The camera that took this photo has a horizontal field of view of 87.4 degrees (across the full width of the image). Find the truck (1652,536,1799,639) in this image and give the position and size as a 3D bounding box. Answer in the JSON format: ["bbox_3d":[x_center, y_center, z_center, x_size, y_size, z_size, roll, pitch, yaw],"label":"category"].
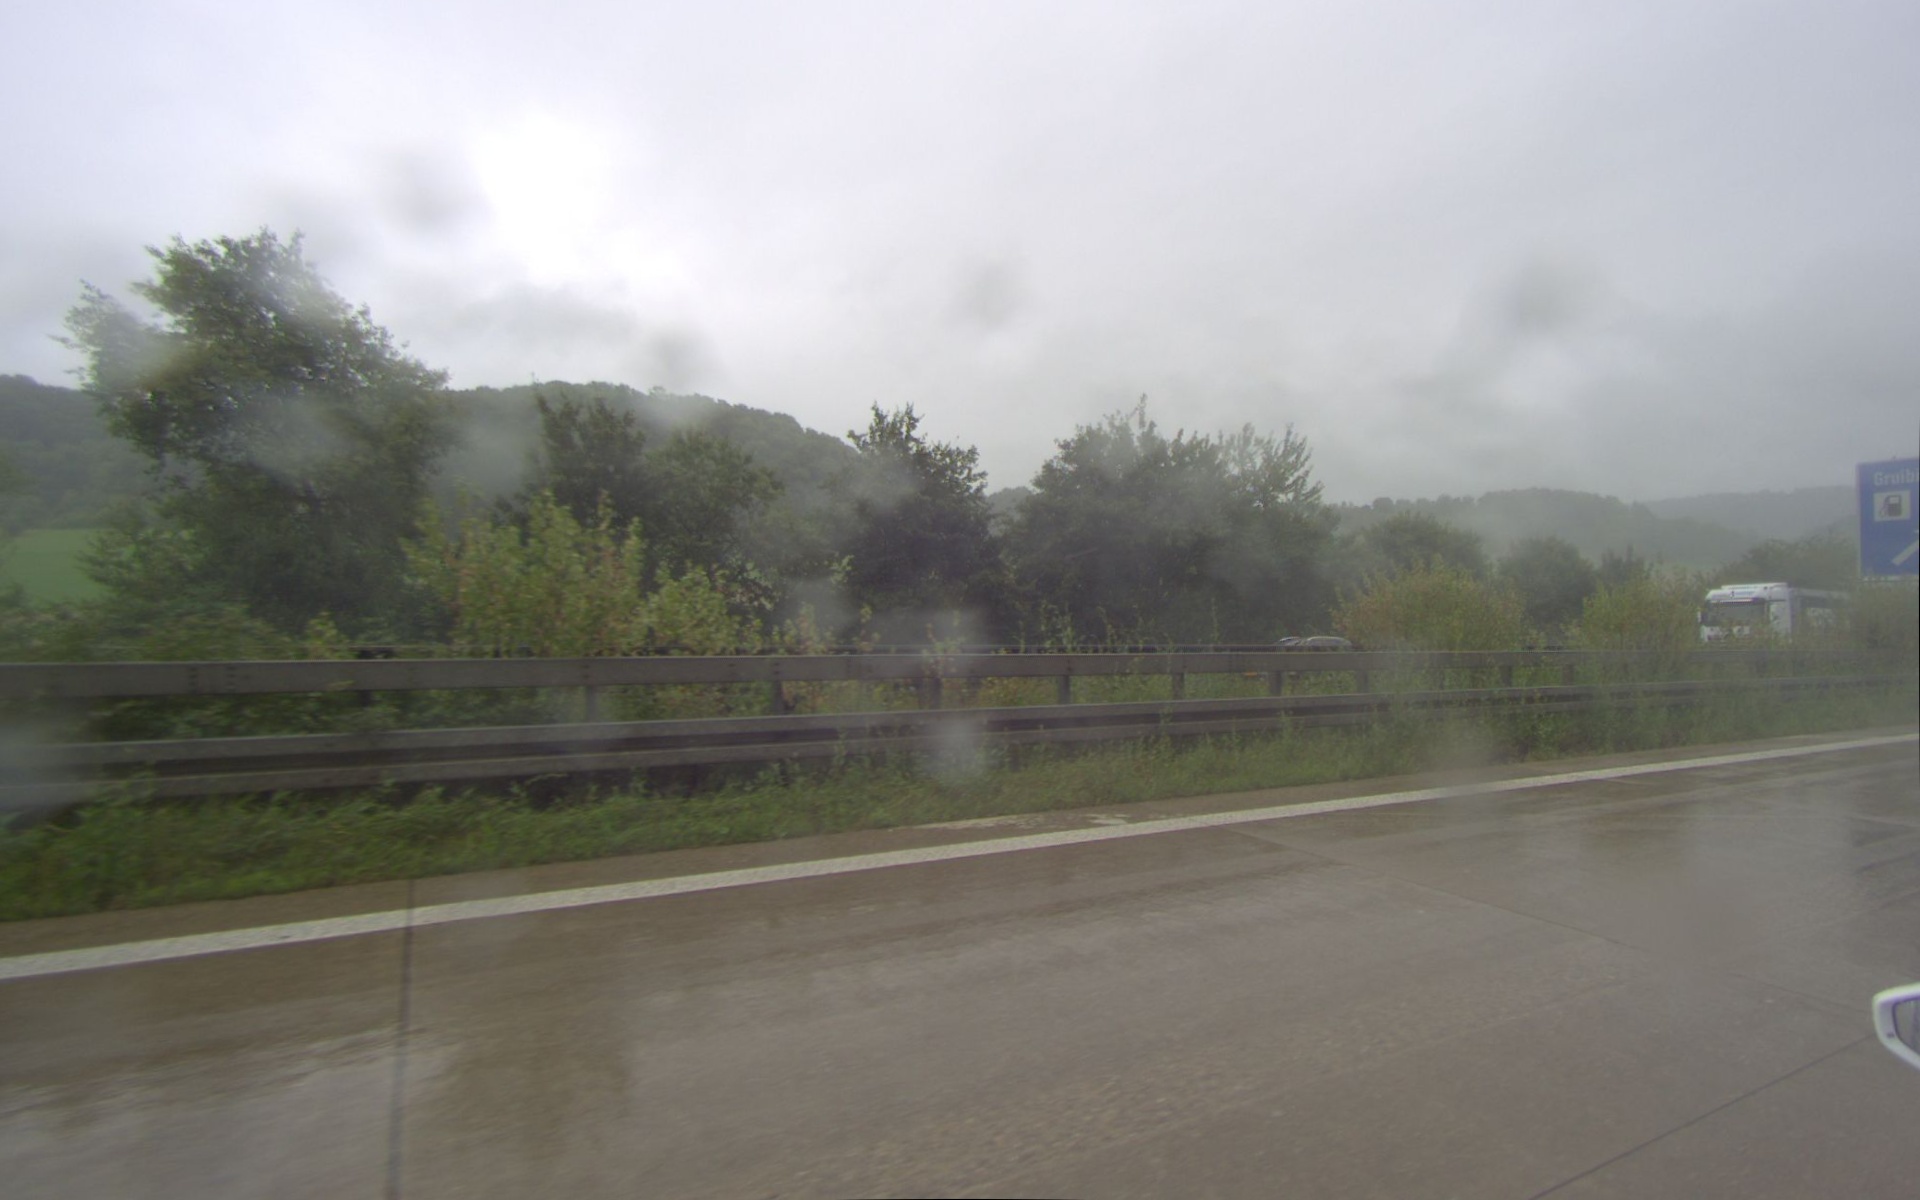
[{"bbox_3d":[33.620,-0.452,44.117,5.456,4.240,3.356,1,0,-31],"label":"truck"}]

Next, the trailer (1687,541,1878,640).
[{"bbox_3d":[38.852,-0.301,47.282,11.270,4.229,3.338,1,0,-31],"label":"trailer"}]
